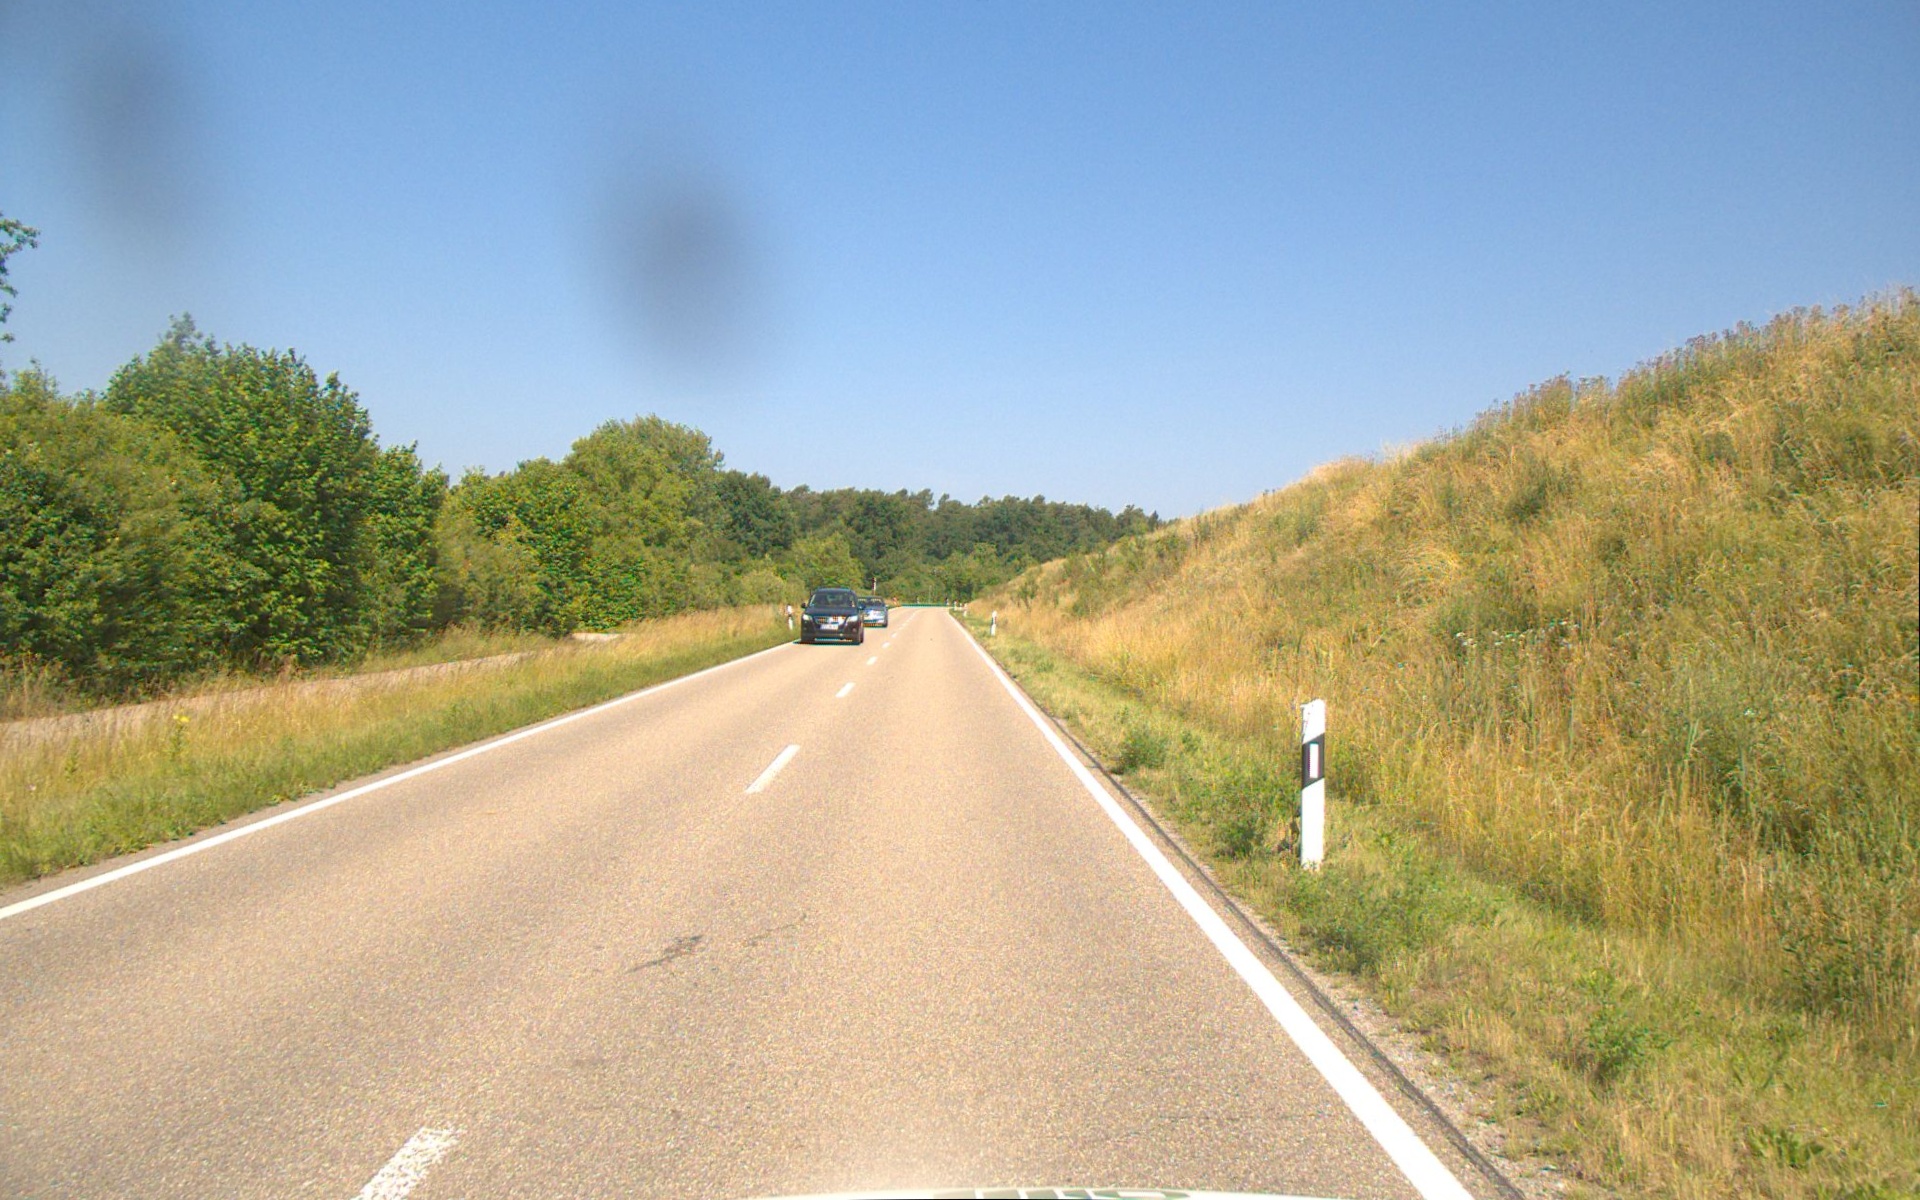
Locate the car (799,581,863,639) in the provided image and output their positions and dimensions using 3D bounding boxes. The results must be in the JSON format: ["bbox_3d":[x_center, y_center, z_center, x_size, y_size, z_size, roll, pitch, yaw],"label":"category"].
[{"bbox_3d":[-3.886,0.287,50.286,1.681,1.675,3.913,1,0,-2],"label":"car"}]

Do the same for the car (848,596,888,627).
[{"bbox_3d":[-4.320,0.531,77.764,1.688,1.377,3.999,2,0,-1],"label":"car"}]
